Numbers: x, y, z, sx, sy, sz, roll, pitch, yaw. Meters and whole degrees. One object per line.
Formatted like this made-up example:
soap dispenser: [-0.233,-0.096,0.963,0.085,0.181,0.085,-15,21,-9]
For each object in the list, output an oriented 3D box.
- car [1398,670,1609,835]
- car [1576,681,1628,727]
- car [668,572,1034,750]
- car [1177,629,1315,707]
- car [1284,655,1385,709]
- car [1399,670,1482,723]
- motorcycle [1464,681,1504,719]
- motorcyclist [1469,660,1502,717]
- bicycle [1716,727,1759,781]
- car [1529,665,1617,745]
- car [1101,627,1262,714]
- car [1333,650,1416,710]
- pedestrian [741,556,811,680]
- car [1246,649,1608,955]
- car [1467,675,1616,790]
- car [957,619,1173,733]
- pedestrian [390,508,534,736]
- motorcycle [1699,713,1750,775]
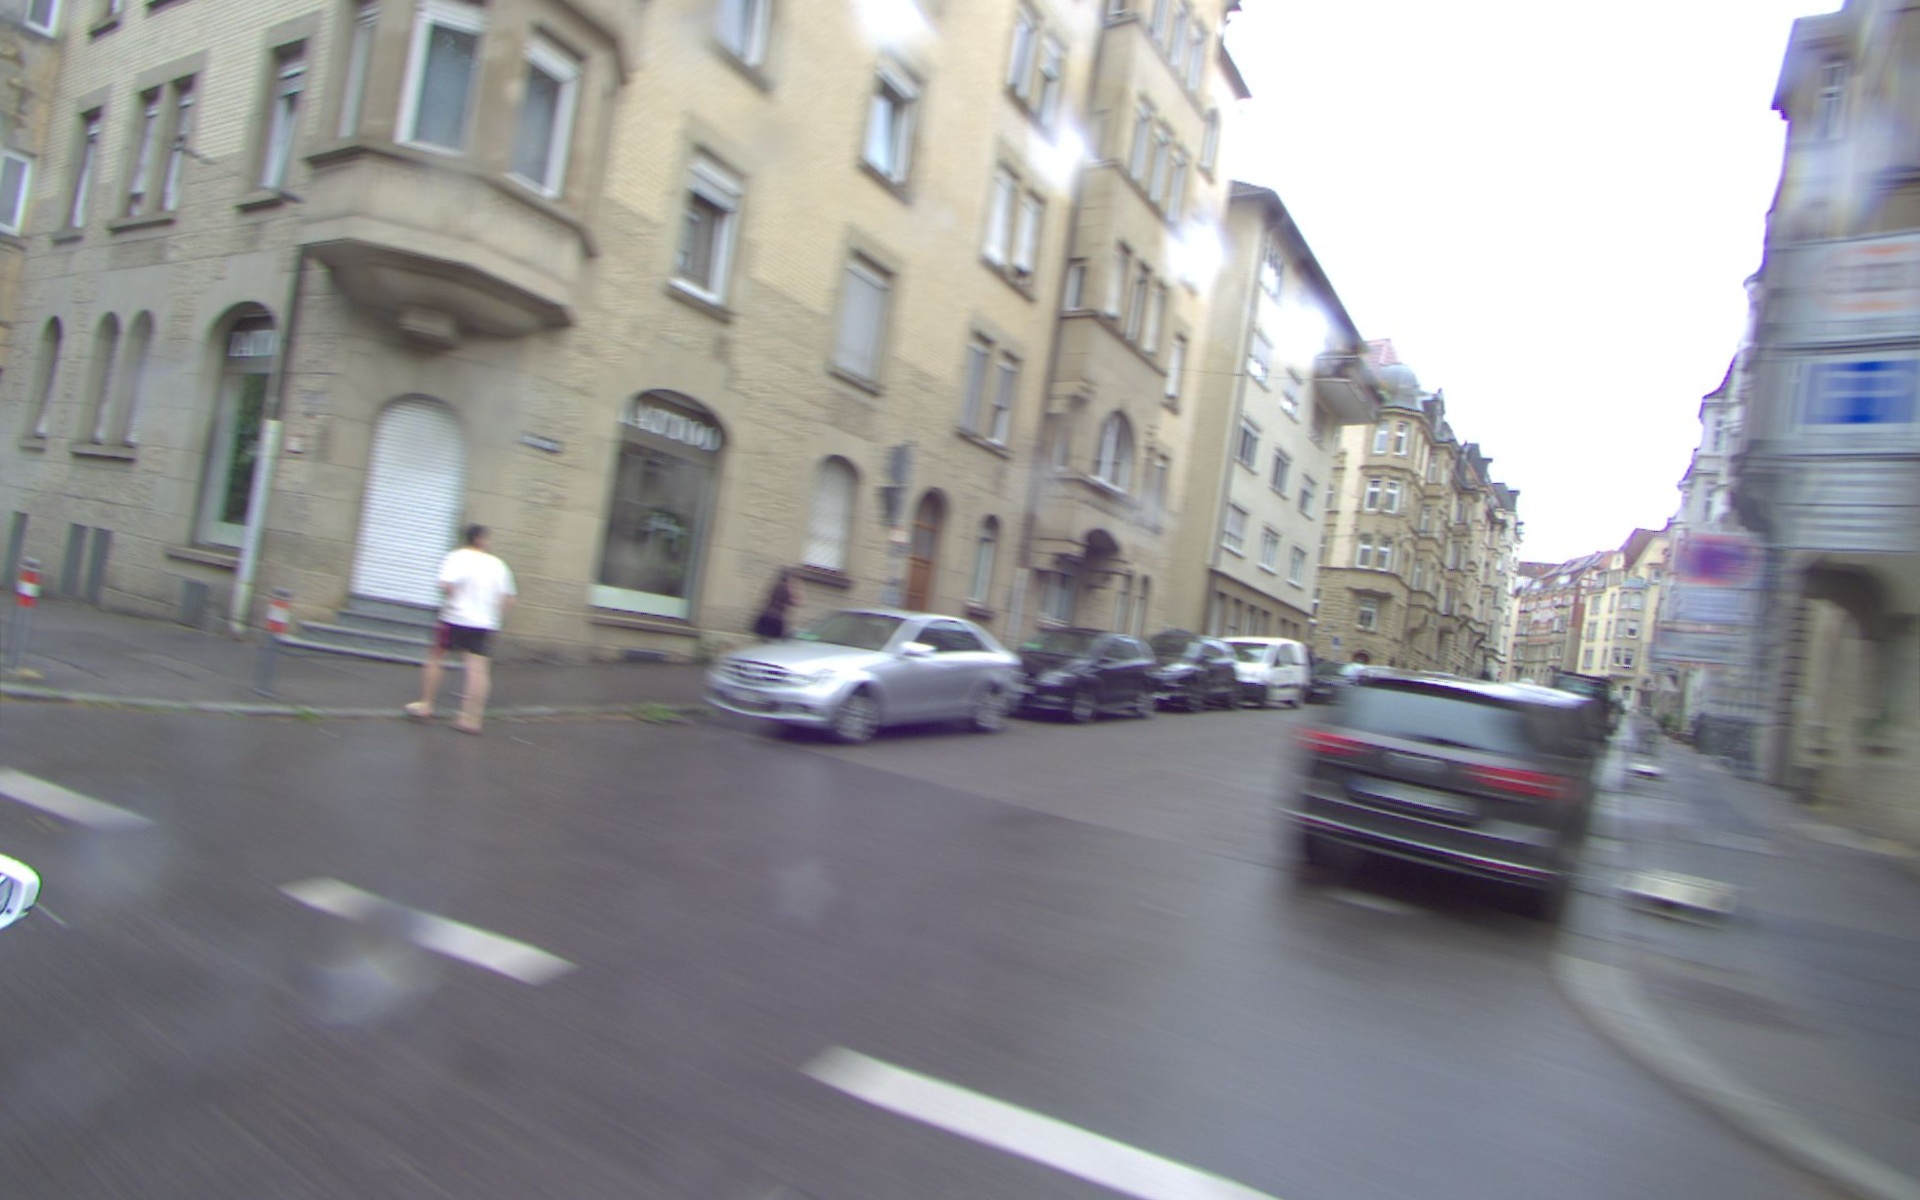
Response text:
car: [6.926,1.761,12.586,1.834,1.460,4.131,7,0,34]
car: [28.313,4.586,44.354,1.723,1.712,3.992,6,-2,34]
car: [-1.045,0.739,11.843,1.861,1.549,4.342,6,-1,32]
car: [7.210,1.724,25.024,1.970,1.698,4.302,2,-3,35]
car: [12.207,2.655,32.603,1.969,1.437,4.301,6,-1,35]
car: [19.305,3.831,40.579,1.839,1.726,4.005,7,-2,10]
motorcycle: [16.908,3.232,32.426,0.635,1.110,2.282,6,-2,38]
motorcyclist: [16.929,2.864,32.409,0.635,1.729,0.930,6,-1,38]
bicycle: [17.123,3.370,22.183,0.472,1.044,1.780,6,-1,32]
car: [18.838,3.223,30.839,1.968,2.037,4.319,6,-2,34]
car: [4.730,1.502,21.015,1.749,1.500,4.281,4,-2,34]
car: [15.569,3.037,37.644,1.882,1.720,4.308,6,-4,35]
pedestrian: [-2.668,0.260,14.594,0.616,1.708,0.548,6,0,35]
car: [3.947,1.318,7.989,1.834,1.503,4.453,7,0,34]
car: [9.980,2.152,17.115,1.834,1.460,4.131,7,0,34]
car: [1.851,1.188,16.369,1.747,1.438,4.282,6,0,31]
pedestrian: [-4.231,0.184,8.551,0.746,1.810,0.694,7,1,36]
motorcycle: [18.195,3.392,23.977,0.625,1.290,2.286,6,-1,31]
